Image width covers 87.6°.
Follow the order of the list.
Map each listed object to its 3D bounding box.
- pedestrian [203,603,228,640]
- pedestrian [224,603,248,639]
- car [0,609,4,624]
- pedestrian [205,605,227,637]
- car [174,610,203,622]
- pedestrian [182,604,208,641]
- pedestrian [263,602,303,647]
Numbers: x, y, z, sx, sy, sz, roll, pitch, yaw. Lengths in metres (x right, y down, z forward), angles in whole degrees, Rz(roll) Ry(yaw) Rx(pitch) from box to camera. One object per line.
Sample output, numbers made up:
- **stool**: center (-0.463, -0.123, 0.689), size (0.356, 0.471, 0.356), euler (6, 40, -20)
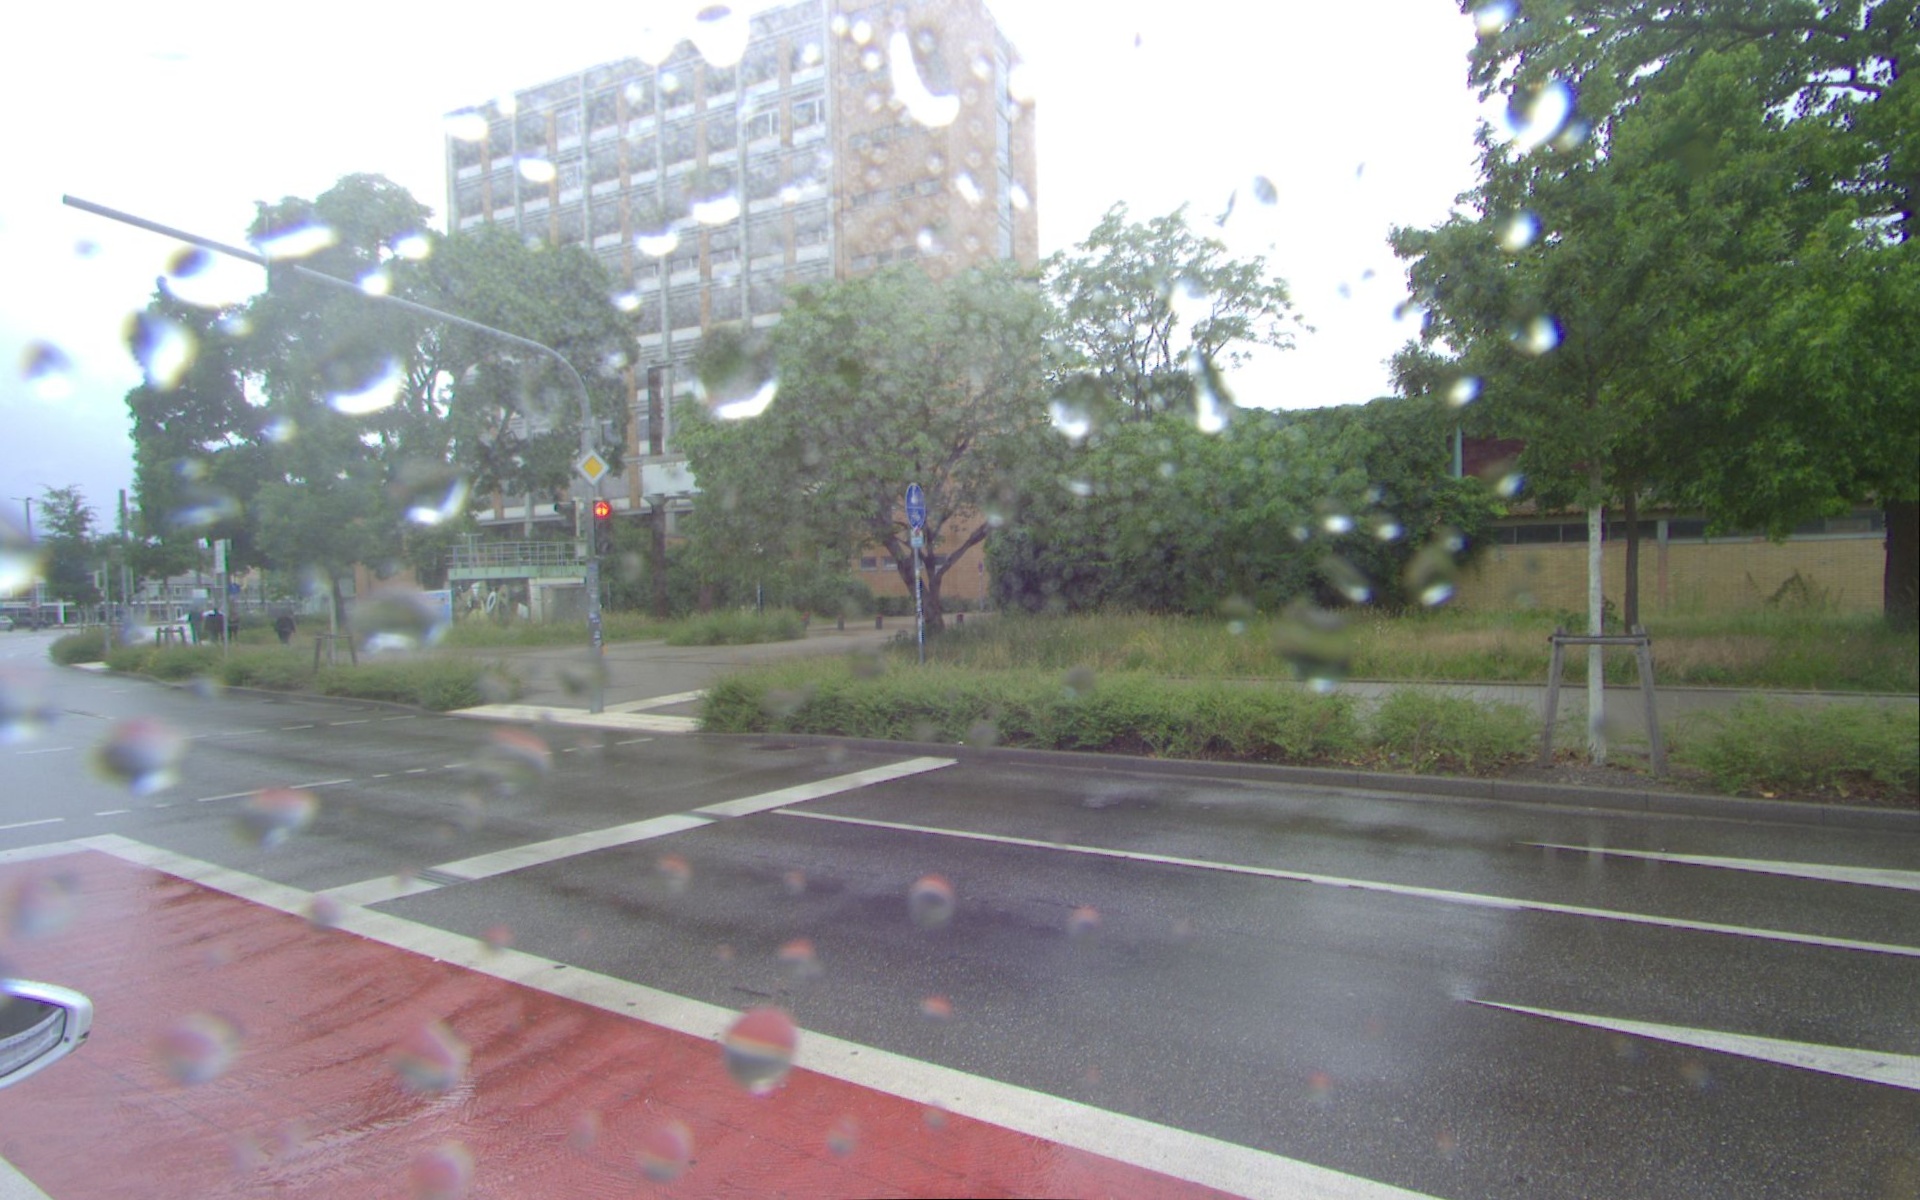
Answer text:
- **pedestrian**: center (-33.147, 0.958, 44.559), size (0.926, 1.609, 0.699), euler (0, 1, 43)
- **pedestrian**: center (-32.731, 0.943, 45.275), size (0.926, 1.609, 0.699), euler (0, 1, 43)
- **car**: center (-102.998, 1.784, 105.852), size (1.769, 1.665, 4.138), euler (-1, 1, -29)
- **pedestrian**: center (-37.195, 1.048, 50.063), size (0.927, 1.609, 0.698), euler (0, 1, 45)
- **car**: center (-115.231, 2.423, 149.606), size (1.762, 1.665, 4.155), euler (-1, 0, -10)
- **pedestrian**: center (-33.931, 0.974, 44.424), size (0.926, 1.609, 0.749), euler (0, 1, 43)
- **pedestrian**: center (-25.161, 0.907, 37.210), size (0.926, 1.609, 1.017), euler (0, 1, 42)
